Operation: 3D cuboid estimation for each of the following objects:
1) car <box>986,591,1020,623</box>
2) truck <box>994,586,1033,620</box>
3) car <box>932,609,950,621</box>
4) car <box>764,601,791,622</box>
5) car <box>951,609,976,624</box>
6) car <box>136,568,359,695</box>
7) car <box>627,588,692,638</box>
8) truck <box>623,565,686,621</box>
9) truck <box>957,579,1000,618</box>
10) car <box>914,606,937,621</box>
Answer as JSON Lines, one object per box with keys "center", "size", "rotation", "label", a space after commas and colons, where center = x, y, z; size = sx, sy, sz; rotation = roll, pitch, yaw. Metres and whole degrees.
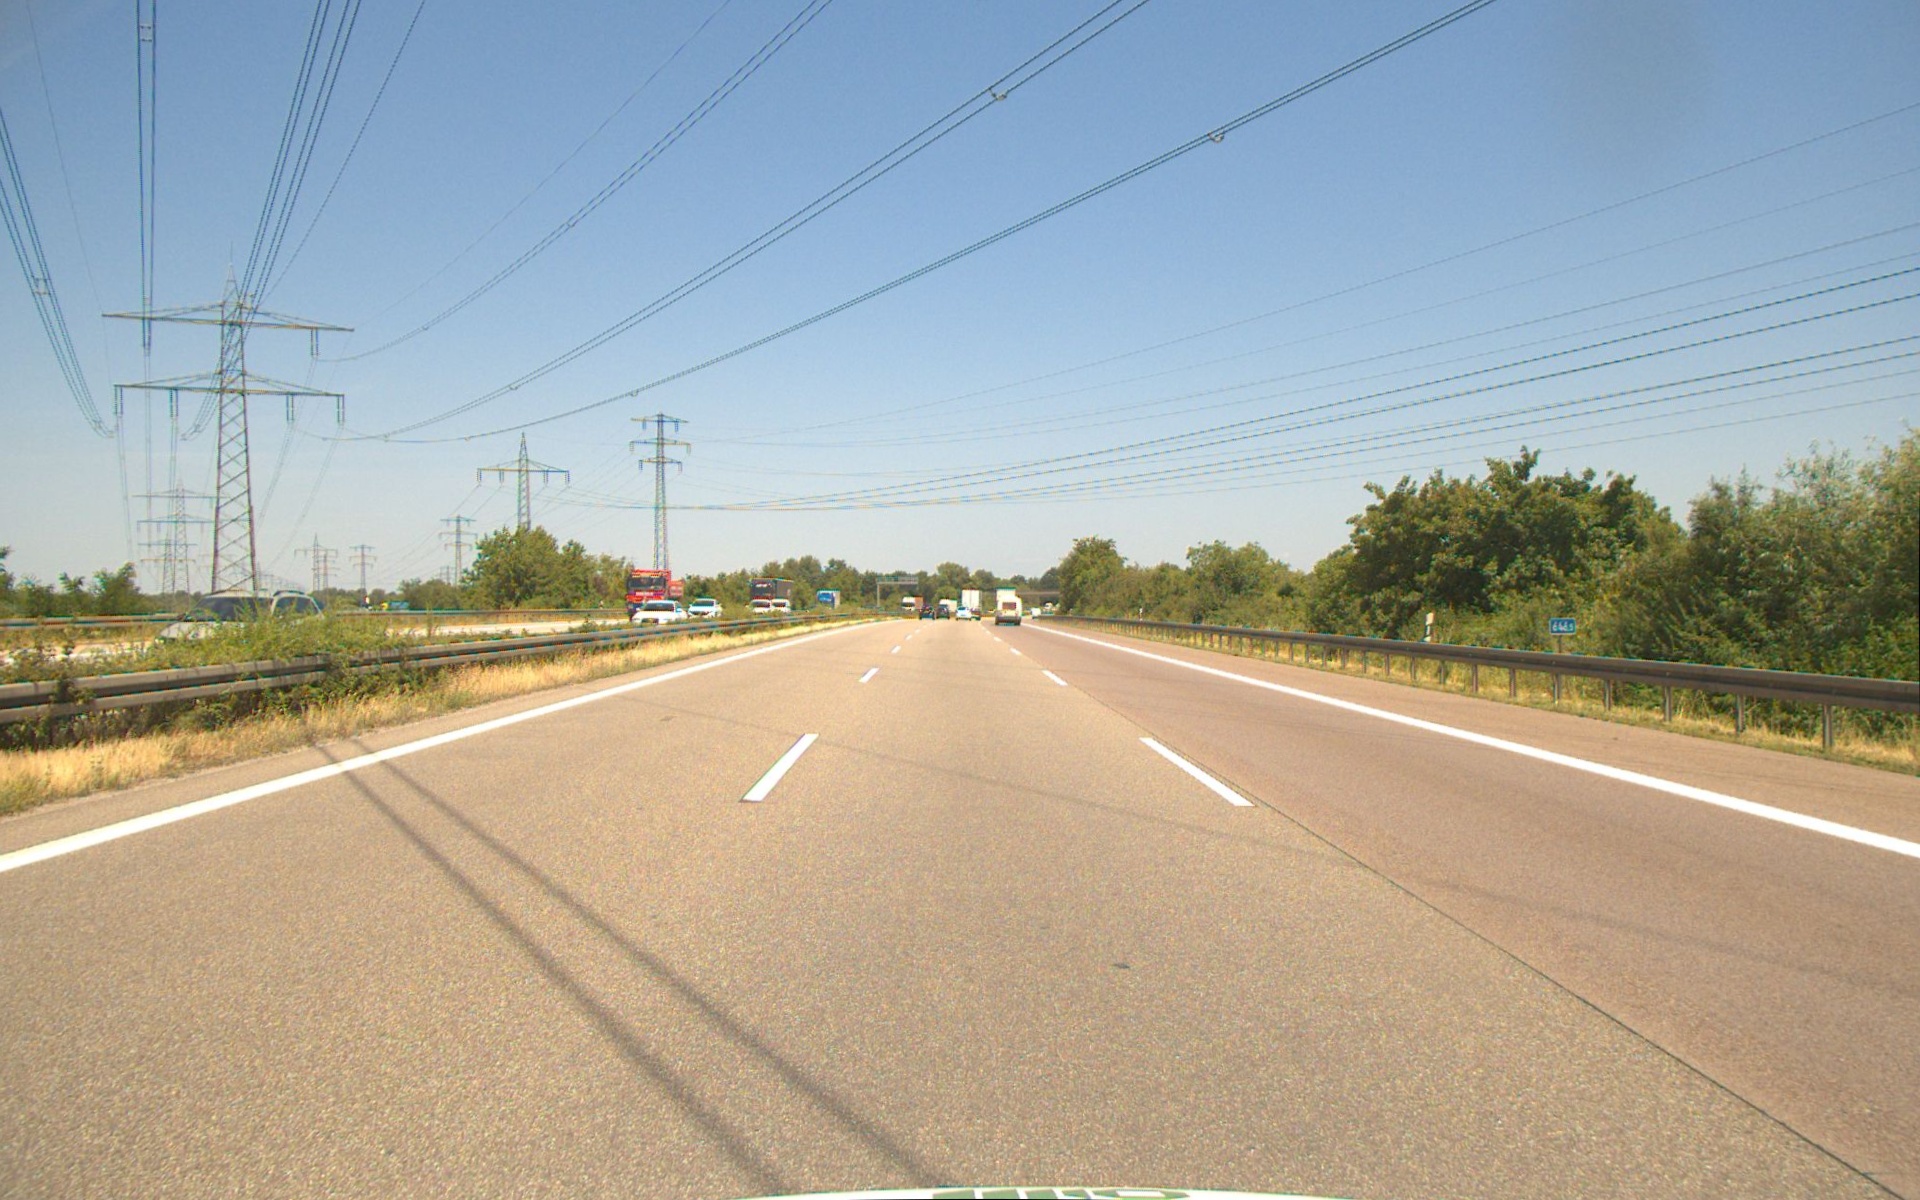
{"center": [3.289, 0.537, 126.817], "size": [2.393, 2.362, 5.320], "rotation": [0, 1, -1], "label": "car"}
{"center": [7.359, 0.405, 224.502], "size": [3.113, 4.379, 16.031], "rotation": [1, 0, 10], "label": "truck"}
{"center": [-2.663, 2.148, 230.769], "size": [1.789, 1.574, 4.322], "rotation": [2, 0, 9], "label": "car"}
{"center": [-16.334, 1.025, 148.518], "size": [1.931, 1.804, 4.368], "rotation": [1, 0, 0], "label": "car"}
{"center": [0.386, 1.832, 180.729], "size": [1.789, 1.574, 4.322], "rotation": [2, 0, 13], "label": "car"}
{"center": [-12.601, 0.504, 29.610], "size": [1.953, 2.049, 4.626], "rotation": [1, 0, 0], "label": "car"}
{"center": [-13.085, 0.524, 72.295], "size": [1.953, 2.049, 4.920], "rotation": [1, 0, 0], "label": "car"}
{"center": [-20.804, -0.489, 113.015], "size": [2.714, 3.588, 8.532], "rotation": [1, 0, 0], "label": "truck"}
{"center": [2.677, -0.240, 230.019], "size": [3.588, 5.106, 16.031], "rotation": [1, 0, 9], "label": "truck"}
{"center": [-3.795, 1.490, 184.753], "size": [1.789, 1.574, 4.322], "rotation": [2, 0, 9], "label": "car"}
